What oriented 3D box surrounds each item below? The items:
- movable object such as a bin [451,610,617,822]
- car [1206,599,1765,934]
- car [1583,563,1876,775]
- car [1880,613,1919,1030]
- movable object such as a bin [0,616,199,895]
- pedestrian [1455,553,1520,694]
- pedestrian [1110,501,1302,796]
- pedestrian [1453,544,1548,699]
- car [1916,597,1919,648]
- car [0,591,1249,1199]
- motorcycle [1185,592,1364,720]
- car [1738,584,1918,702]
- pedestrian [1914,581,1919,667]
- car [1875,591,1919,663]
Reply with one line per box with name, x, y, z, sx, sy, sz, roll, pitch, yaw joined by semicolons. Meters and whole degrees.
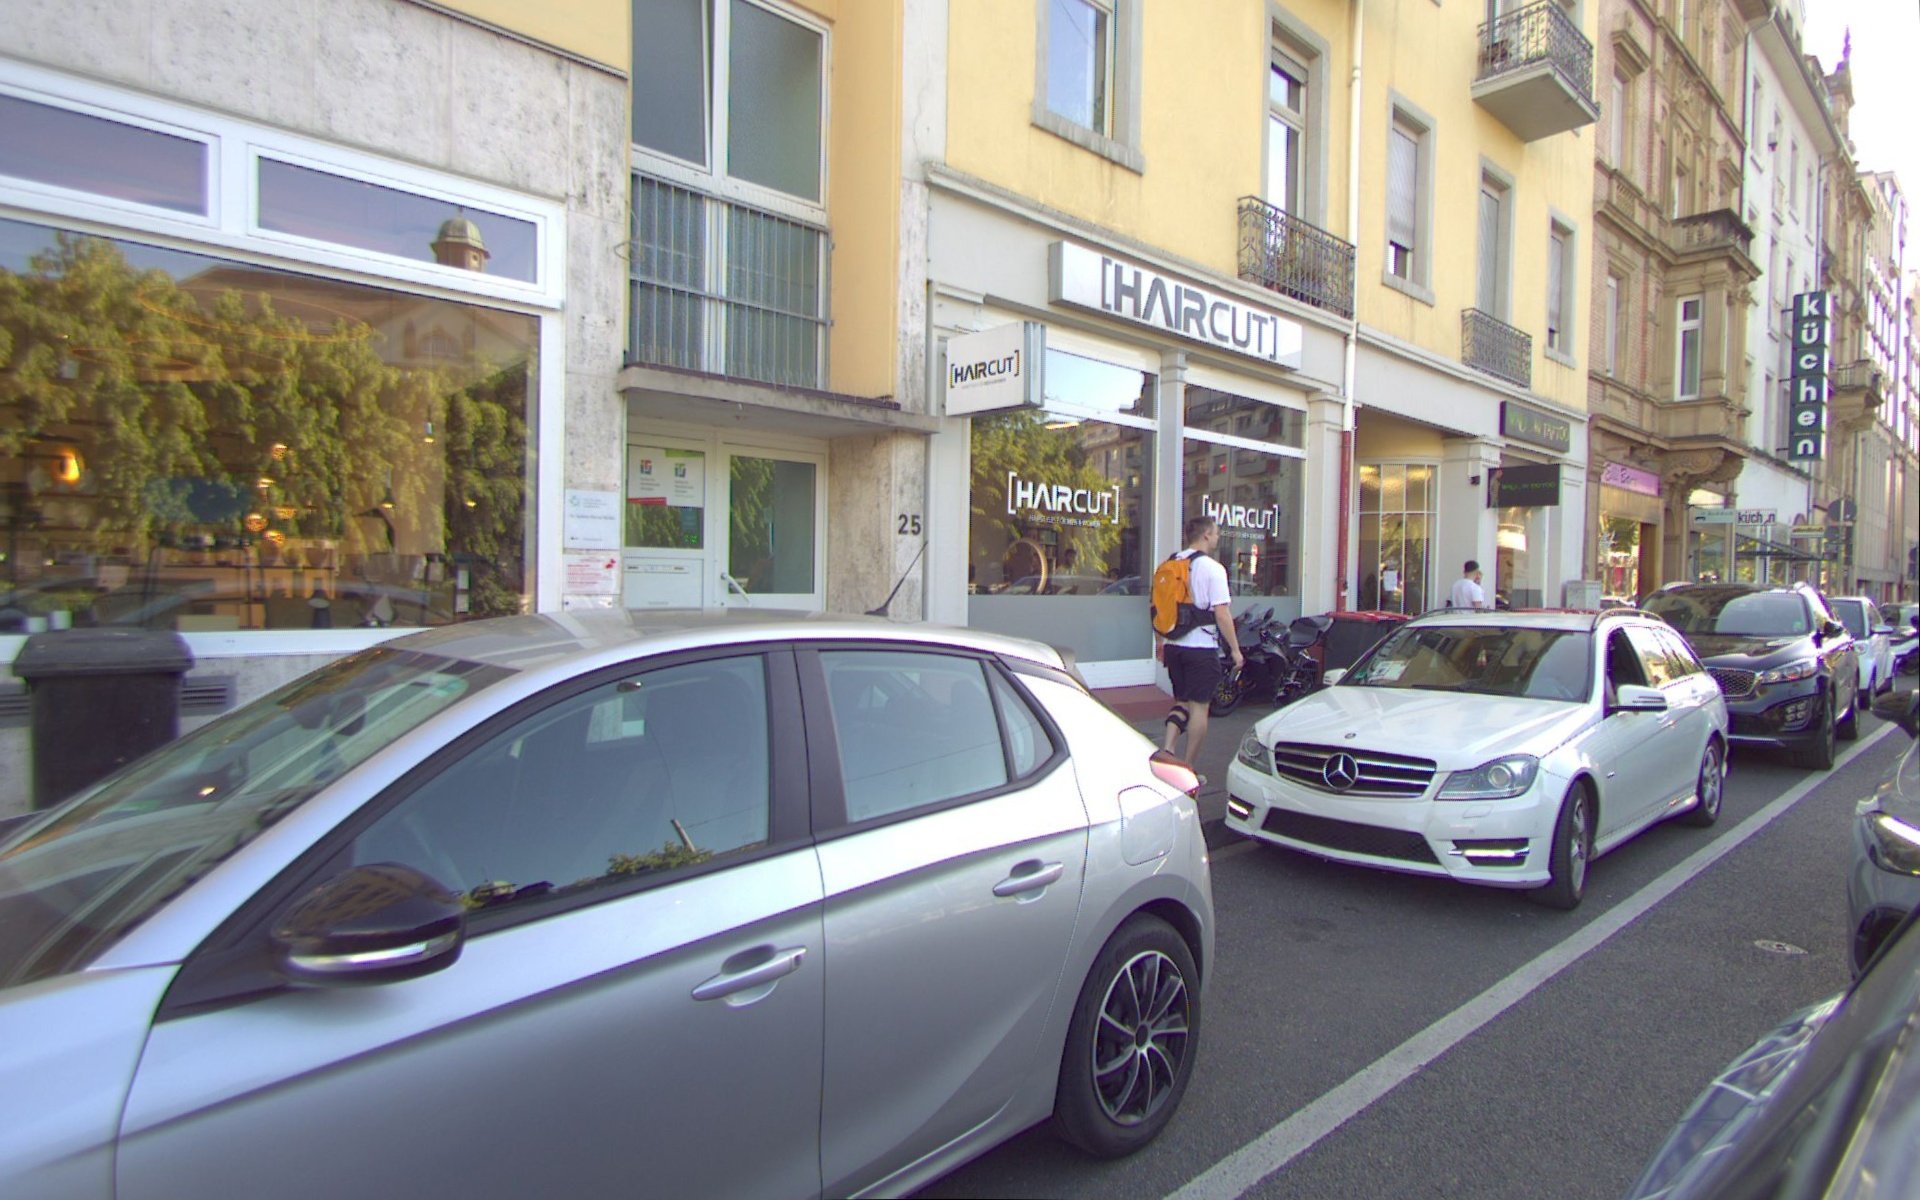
movable object such as a bin;-2.333;0.582;5.532;0.639;1.036;0.737;0;0;-41
car;3.527;0.710;6.382;4.301;1.389;1.671;-1;0;-41
car;8.004;0.532;10.360;4.338;1.711;1.802;-1;0;-45
car;5.392;0.751;4.370;4.397;1.385;1.767;-1;1;-43
movable object such as a bin;-3.680;0.600;4.318;0.639;1.036;0.737;0;0;-41
pedestrian;7.234;0.303;13.868;0.627;1.859;0.760;0;0;41
pedestrian;1.680;0.282;6.934;0.964;1.845;0.811;0;3;-37
pedestrian;6.827;0.257;12.822;0.961;1.900;0.532;0;0;18
car;26.605;0.578;26.920;3.306;1.334;1.459;-1;0;-42
car;-1.012;0.716;2.302;3.625;1.455;1.585;-1;0;-43
motorcycle;3.296;0.525;10.498;2.073;1.144;0.735;-1;5;-41
car;12.766;0.550;14.846;2.945;1.542;1.582;-1;0;-41
pedestrian;19.813;0.478;20.205;0.802;1.741;0.839;0;0;-22
car;21.893;0.569;22.802;3.736;1.509;1.691;-1;0;-45
